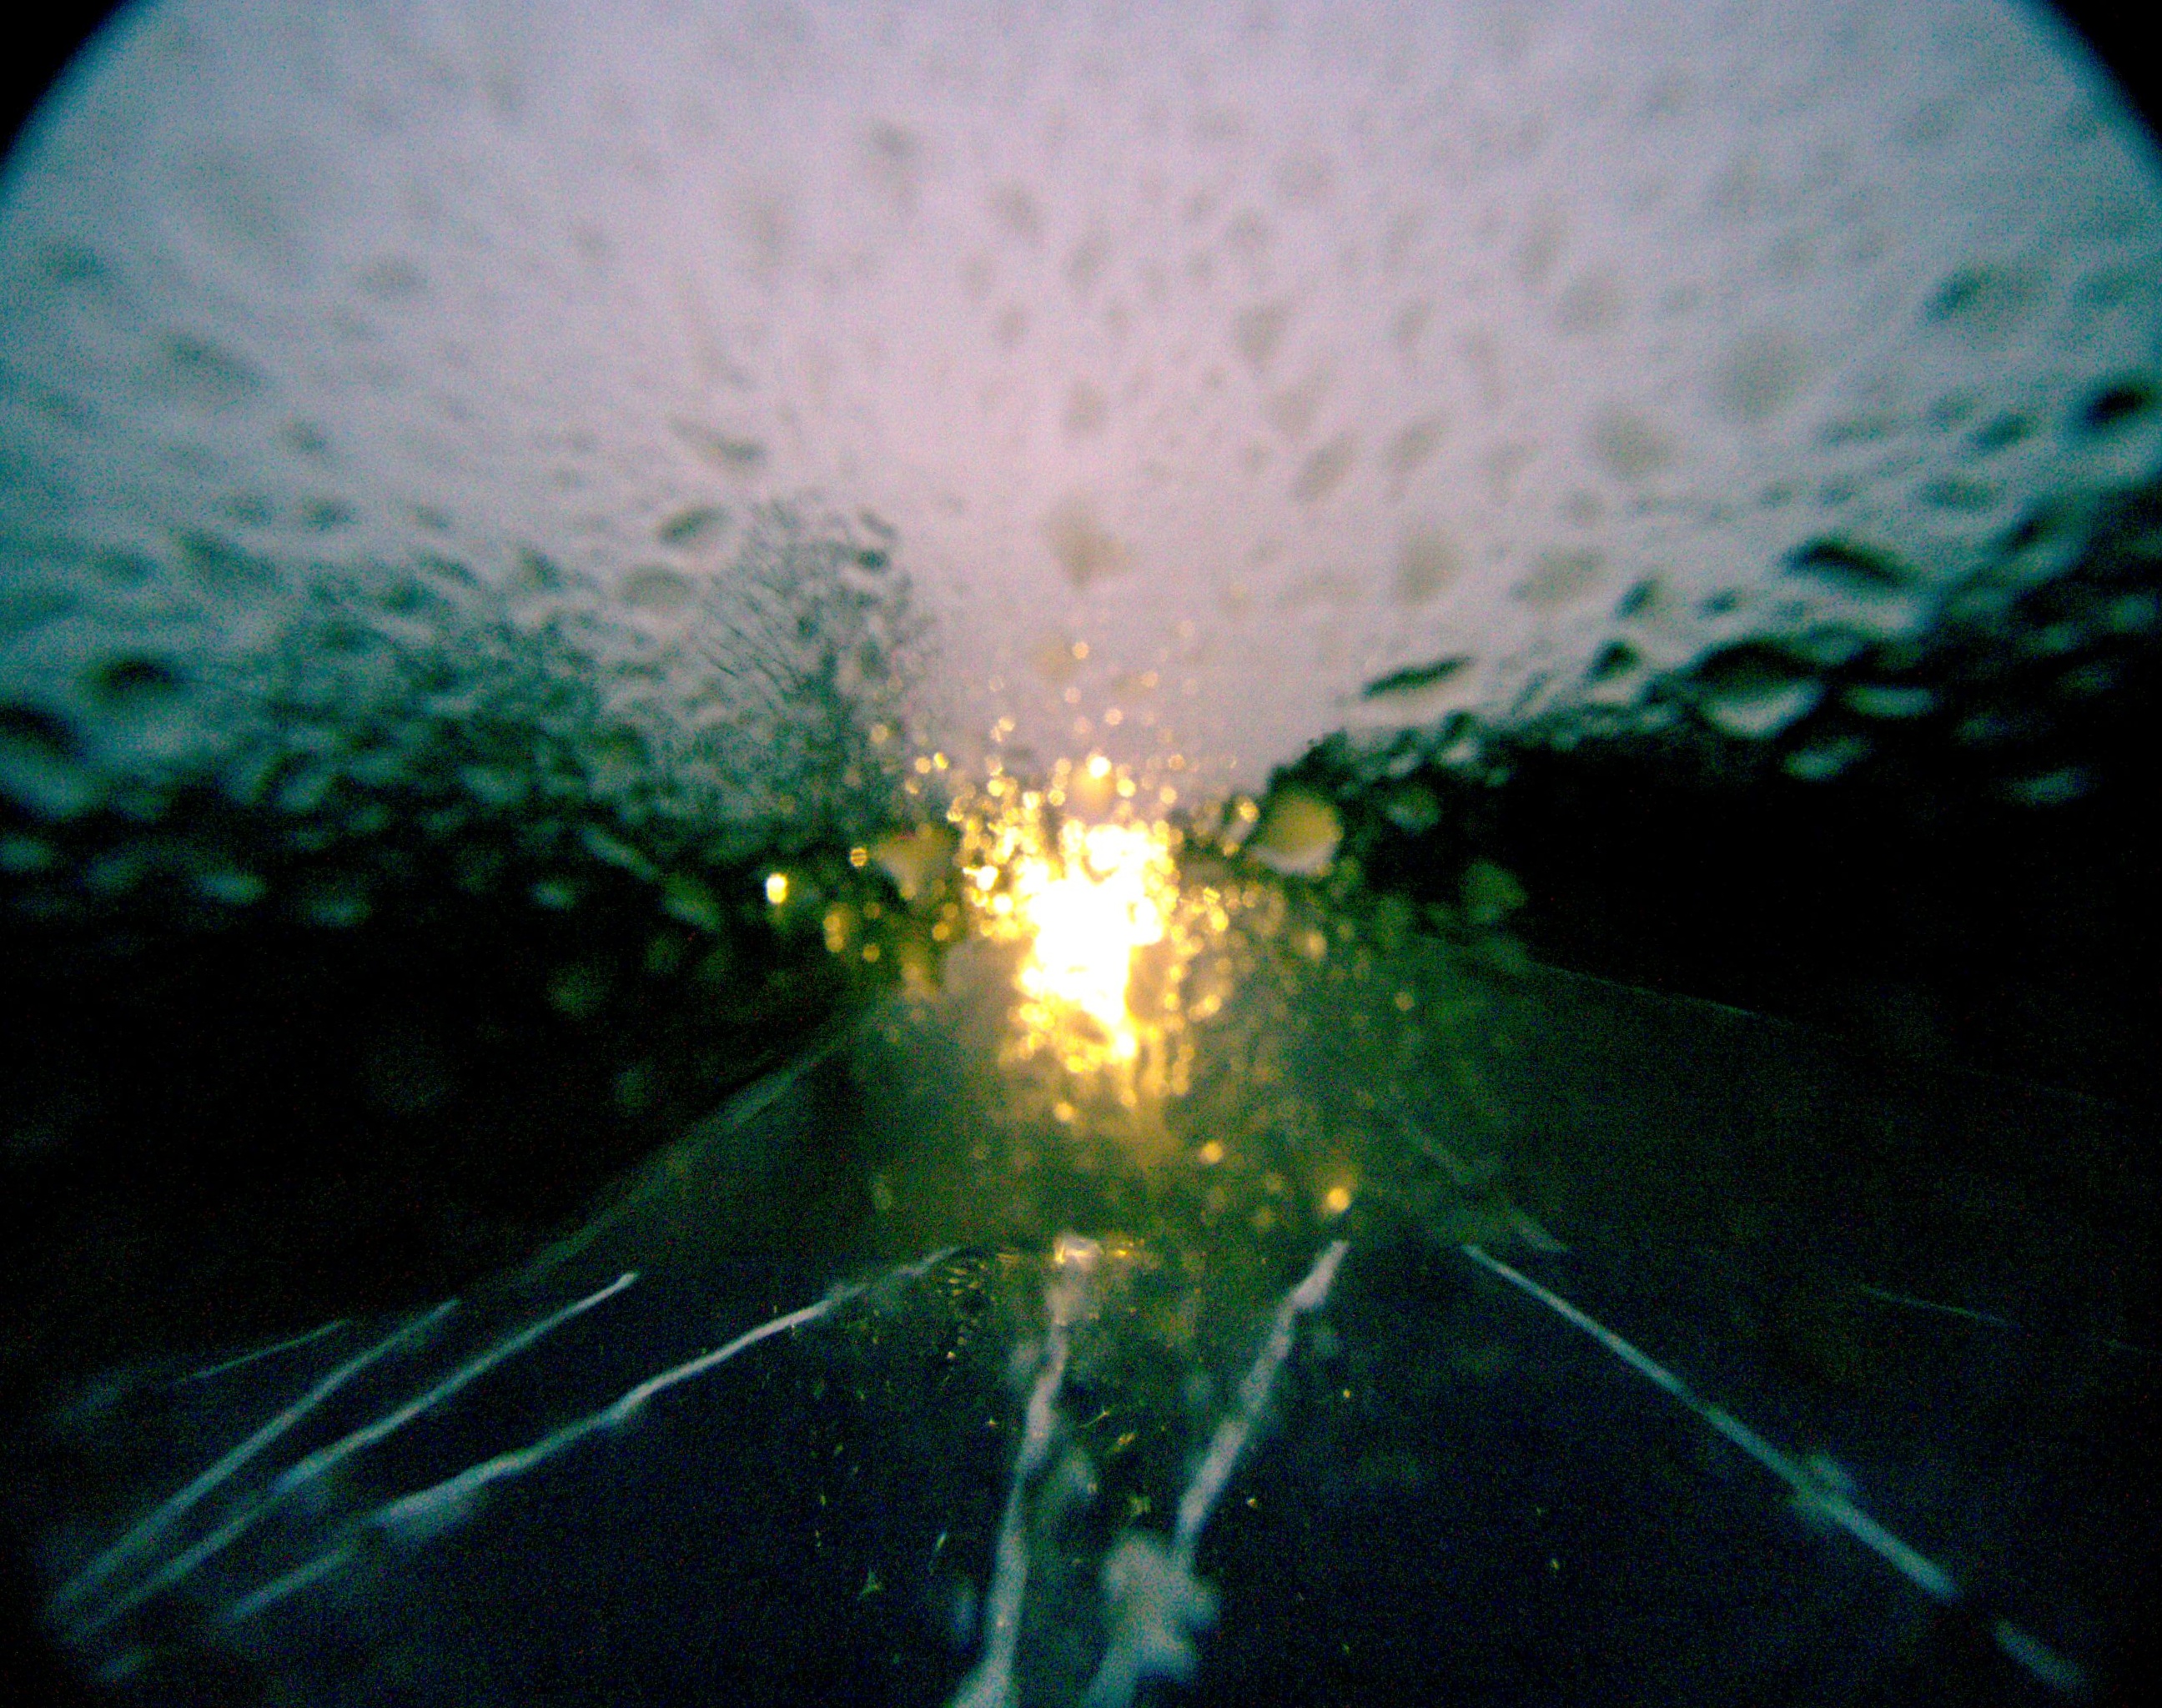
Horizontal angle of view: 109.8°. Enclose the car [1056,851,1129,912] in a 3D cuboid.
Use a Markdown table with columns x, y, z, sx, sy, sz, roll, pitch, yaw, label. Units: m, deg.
| x | y | z | sx | sy | sz | roll | pitch | yaw | label |
| --- | --- | --- | --- | --- | --- | --- | --- | --- | --- |
| 0.366 | 0.770 | 23.356 | 1.998 | 1.601 | 4.000 | -2 | 1 | 1 | car |
